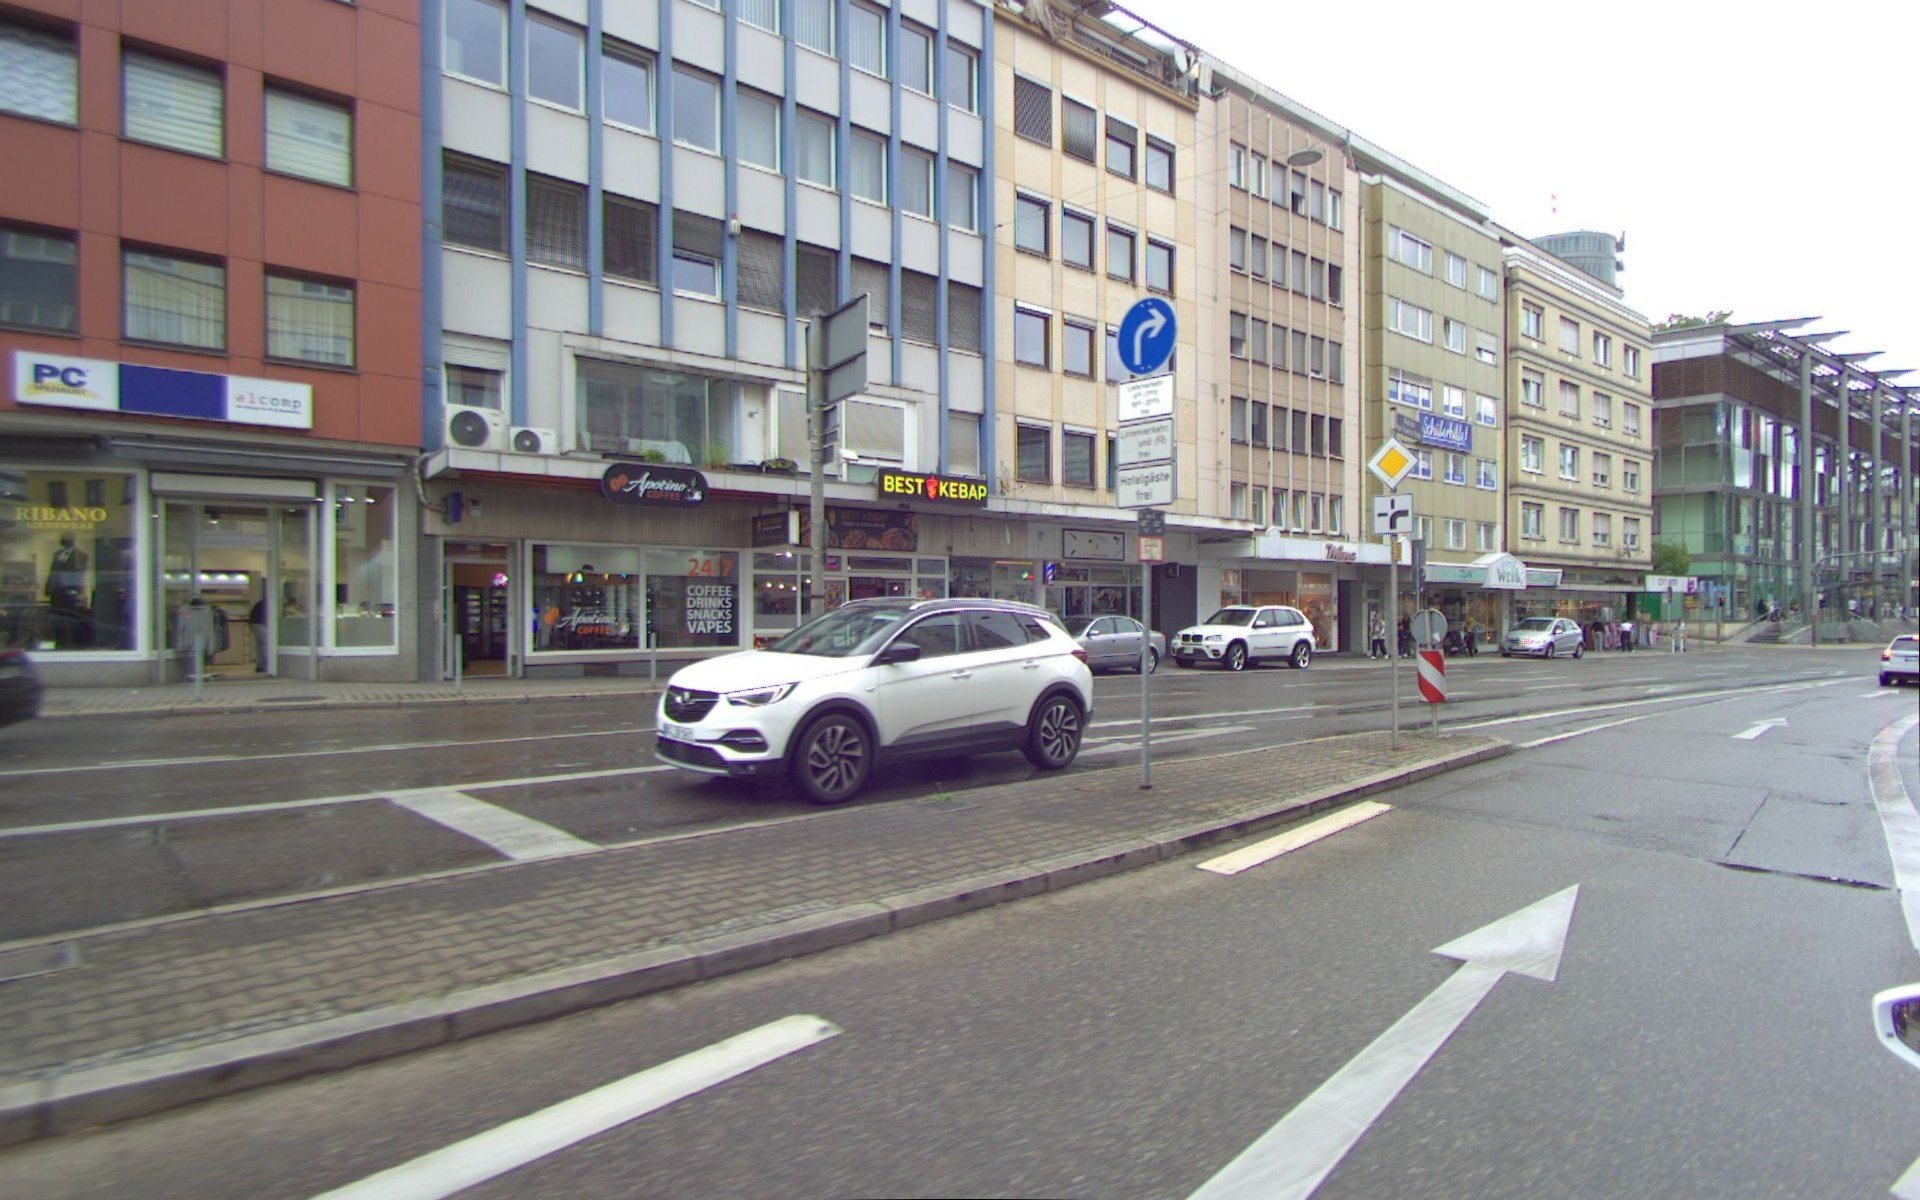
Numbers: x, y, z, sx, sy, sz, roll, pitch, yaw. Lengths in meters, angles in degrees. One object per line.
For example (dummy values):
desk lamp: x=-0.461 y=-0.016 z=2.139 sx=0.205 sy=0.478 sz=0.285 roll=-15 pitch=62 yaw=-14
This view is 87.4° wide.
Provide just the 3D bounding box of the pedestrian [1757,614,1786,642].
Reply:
pedestrian: x=53.161 y=1.820 z=65.817 sx=0.990 sy=1.736 sz=1.040 roll=1 pitch=0 yaw=-10

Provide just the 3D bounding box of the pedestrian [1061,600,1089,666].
pedestrian: x=3.094 y=0.880 z=27.092 sx=0.578 sy=1.731 sz=0.442 roll=0 pitch=2 yaw=-37

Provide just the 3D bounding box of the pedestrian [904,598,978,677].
pedestrian: x=-0.439 y=0.834 z=23.100 sx=1.407 sy=1.741 sz=0.944 roll=0 pitch=2 yaw=-39

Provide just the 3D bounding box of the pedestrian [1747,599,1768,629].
pedestrian: x=54.963 y=0.966 z=69.252 sx=0.966 sy=2.007 sz=0.874 roll=1 pitch=0 yaw=-38

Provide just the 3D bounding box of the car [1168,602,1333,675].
car: x=8.155 y=1.042 z=28.035 sx=4.918 sy=1.851 sz=1.835 roll=1 pitch=0 yaw=-37

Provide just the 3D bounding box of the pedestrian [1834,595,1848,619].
pedestrian: x=66.963 y=0.529 z=76.345 sx=0.844 sy=1.736 sz=0.674 roll=1 pitch=0 yaw=-43

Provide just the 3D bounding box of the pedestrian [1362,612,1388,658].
pedestrian: x=14.720 y=1.249 z=35.619 sx=0.606 sy=1.595 sz=0.637 roll=1 pitch=0 yaw=-37

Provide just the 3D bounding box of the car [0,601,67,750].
car: x=-10.972 y=0.688 z=9.042 sx=4.007 sy=1.379 sz=1.786 roll=1 pitch=-1 yaw=-26

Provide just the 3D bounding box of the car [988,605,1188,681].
car: x=3.128 y=0.991 z=24.069 sx=4.835 sy=1.630 sz=1.851 roll=1 pitch=0 yaw=-37

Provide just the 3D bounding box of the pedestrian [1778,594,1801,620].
pedestrian: x=56.196 y=0.468 z=68.038 sx=1.000 sy=1.736 sz=1.029 roll=1 pitch=0 yaw=-43

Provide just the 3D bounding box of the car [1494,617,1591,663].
car: x=23.100 y=1.535 z=39.766 sx=4.361 sy=1.571 sz=1.833 roll=0 pitch=2 yaw=-39

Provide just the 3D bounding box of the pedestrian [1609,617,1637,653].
pedestrian: x=31.473 y=1.648 z=47.700 sx=0.828 sy=1.649 sz=0.775 roll=2 pitch=1 yaw=9

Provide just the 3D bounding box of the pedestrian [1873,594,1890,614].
pedestrian: x=82.942 y=0.379 z=90.416 sx=1.000 sy=1.736 sz=1.029 roll=1 pitch=0 yaw=-43

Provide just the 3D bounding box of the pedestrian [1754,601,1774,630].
pedestrian: x=55.834 y=1.091 z=69.735 sx=0.842 sy=2.007 sz=0.868 roll=1 pitch=0 yaw=-38

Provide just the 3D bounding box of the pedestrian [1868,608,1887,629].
pedestrian: x=77.489 y=1.549 z=84.841 sx=1.000 sy=1.736 sz=1.029 roll=1 pitch=0 yaw=-43

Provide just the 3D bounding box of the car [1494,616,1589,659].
car: x=22.983 y=1.468 z=39.653 sx=4.161 sy=1.584 sz=1.688 roll=1 pitch=0 yaw=-36

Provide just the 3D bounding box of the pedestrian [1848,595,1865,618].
pedestrian: x=67.698 y=0.488 z=75.851 sx=0.796 sy=1.736 sz=0.819 roll=1 pitch=0 yaw=-43

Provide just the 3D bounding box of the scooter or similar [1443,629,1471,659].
scooter or similar: x=19.038 y=1.677 z=38.476 sx=0.695 sy=1.068 sz=0.730 roll=0 pitch=2 yaw=-39

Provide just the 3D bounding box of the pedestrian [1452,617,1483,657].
pedestrian: x=19.727 y=1.433 z=39.025 sx=1.056 sy=1.504 sz=0.661 roll=0 pitch=2 yaw=-39

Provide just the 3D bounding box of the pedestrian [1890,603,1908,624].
pedestrian: x=78.911 y=1.148 z=84.390 sx=1.000 sy=1.736 sz=1.029 roll=1 pitch=0 yaw=-43

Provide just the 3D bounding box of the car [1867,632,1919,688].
car: x=27.508 y=1.675 z=28.596 sx=4.591 sy=1.434 sz=1.778 roll=1 pitch=0 yaw=-39

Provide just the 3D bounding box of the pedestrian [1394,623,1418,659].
pedestrian: x=16.414 y=1.499 z=36.977 sx=0.714 sy=1.266 sz=0.530 roll=0 pitch=2 yaw=-39

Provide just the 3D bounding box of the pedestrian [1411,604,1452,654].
pedestrian: x=17.007 y=1.034 z=36.235 sx=1.081 sy=1.737 sz=0.944 roll=0 pitch=2 yaw=-39

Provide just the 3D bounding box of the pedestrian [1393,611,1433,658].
pedestrian: x=17.068 y=1.281 z=37.853 sx=1.077 sy=1.718 sz=0.944 roll=0 pitch=2 yaw=-39

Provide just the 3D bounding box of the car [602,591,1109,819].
car: x=-0.789 y=0.740 z=9.349 sx=4.396 sy=1.572 sz=1.975 roll=0 pitch=2 yaw=-43

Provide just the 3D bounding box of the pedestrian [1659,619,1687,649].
pedestrian: x=38.557 y=1.832 z=54.336 sx=1.142 sy=1.607 sz=0.866 roll=1 pitch=0 yaw=-35

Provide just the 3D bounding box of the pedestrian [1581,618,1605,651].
pedestrian: x=30.660 y=1.659 z=48.623 sx=0.676 sy=1.557 sz=0.778 roll=1 pitch=1 yaw=-39
